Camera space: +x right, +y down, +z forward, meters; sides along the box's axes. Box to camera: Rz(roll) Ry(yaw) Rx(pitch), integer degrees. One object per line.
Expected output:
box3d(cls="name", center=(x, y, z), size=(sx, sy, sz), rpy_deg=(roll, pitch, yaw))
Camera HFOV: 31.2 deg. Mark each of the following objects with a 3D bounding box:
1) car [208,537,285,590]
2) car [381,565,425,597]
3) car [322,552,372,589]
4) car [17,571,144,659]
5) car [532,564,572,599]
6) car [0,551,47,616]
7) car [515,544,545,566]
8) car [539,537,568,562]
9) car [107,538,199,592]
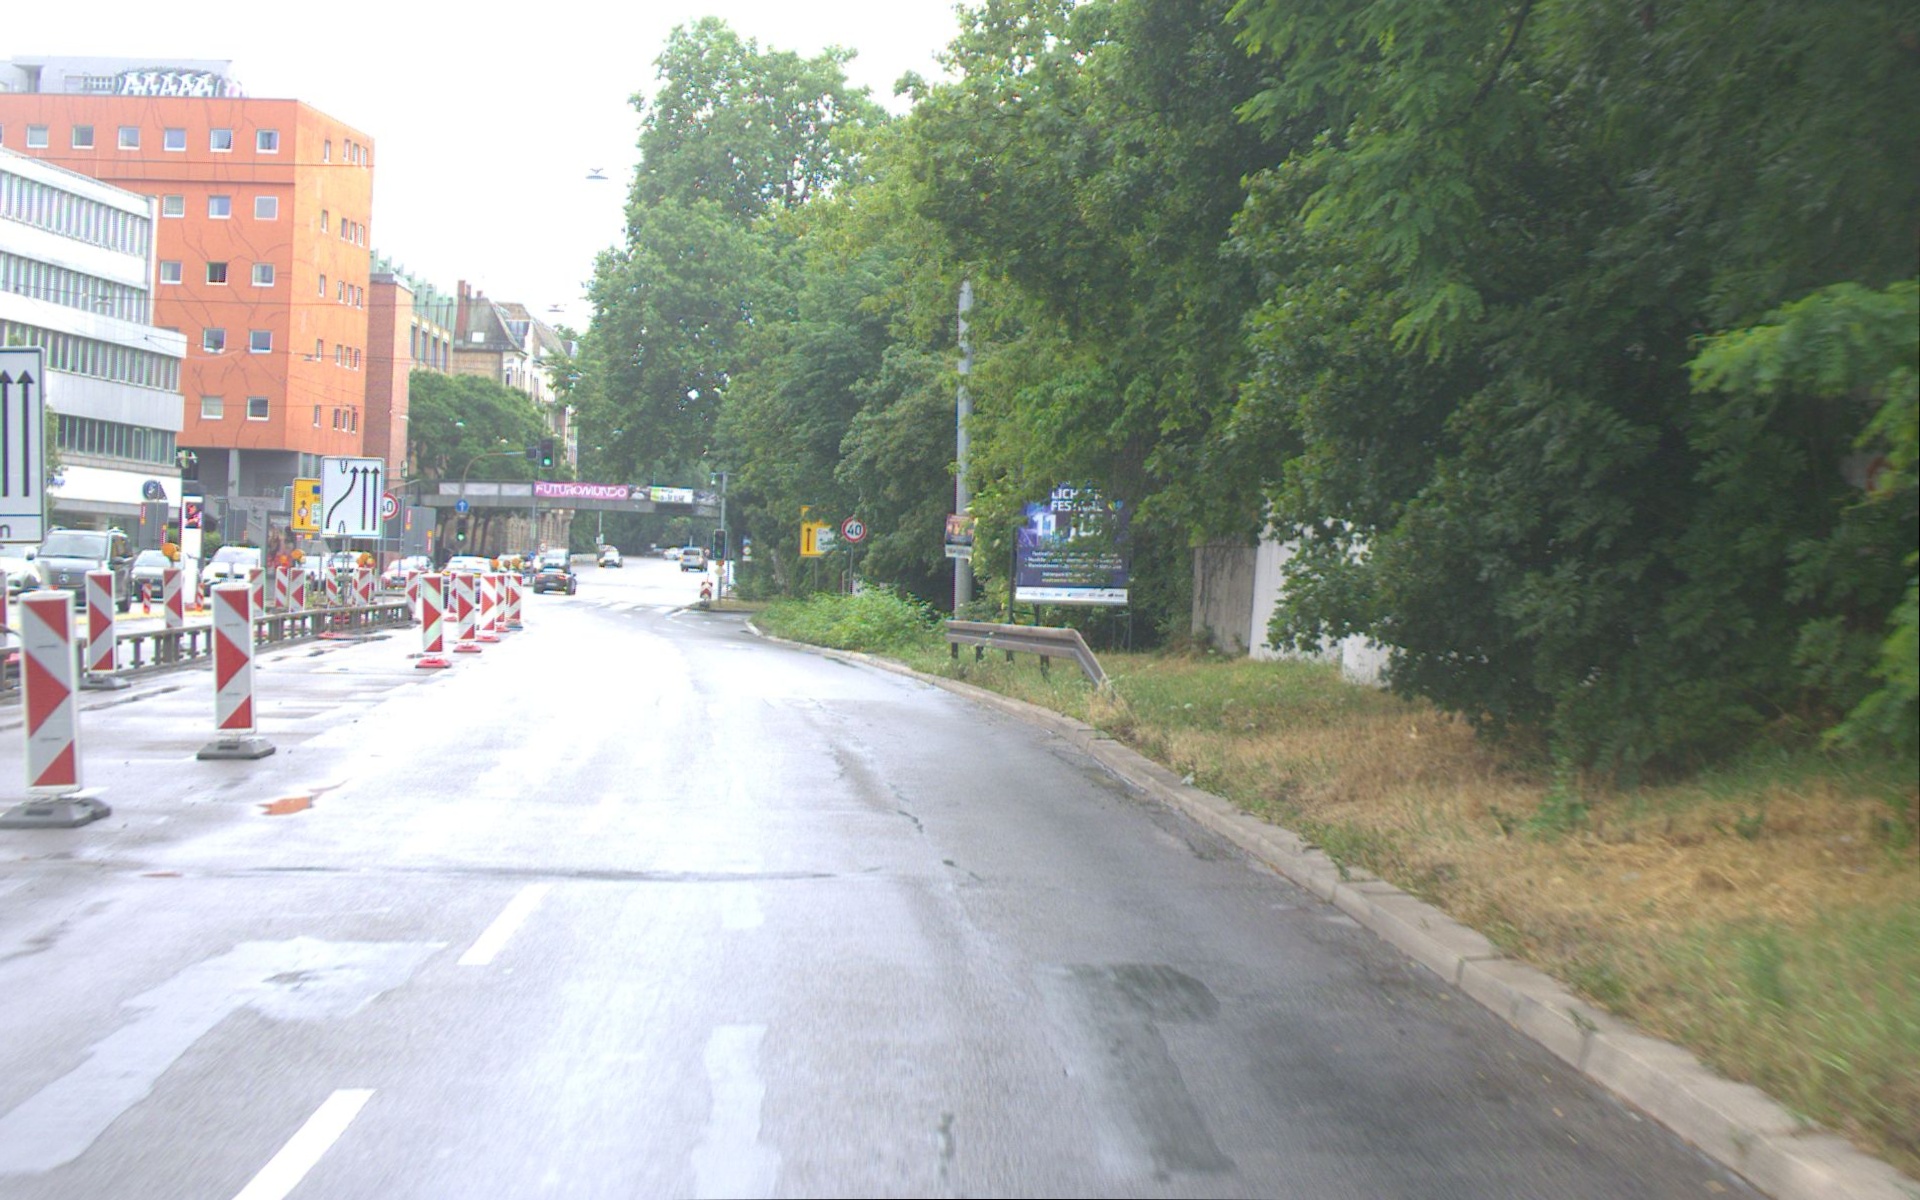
box3d(cls="car", center=(-23.360, -1.206, 112.646), size=(1.938, 1.684, 4.581), rpy_deg=(1, 1, -5))
box3d(cls="car", center=(-25.838, -0.909, 159.592), size=(1.735, 1.399, 4.290), rpy_deg=(2, 0, -6))
box3d(cls="car", center=(-29.592, -1.428, 165.990), size=(1.979, 1.701, 4.832), rpy_deg=(2, 0, -6))
box3d(cls="car", center=(-20.315, 0.316, 79.615), size=(1.993, 1.930, 5.232), rpy_deg=(0, 1, -5))
box3d(cls="car", center=(-20.457, -0.923, 172.378), size=(1.763, 1.691, 3.706), rpy_deg=(1, 1, -3))
box3d(cls="car", center=(-24.301, -0.434, 86.545), size=(1.747, 1.579, 4.265), rpy_deg=(1, 1, -4))
box3d(cls="car", center=(-30.251, -3.148, 241.899), size=(1.829, 1.497, 4.373), rpy_deg=(1, 1, -3))
box3d(cls="car", center=(-30.206, -3.740, 255.586), size=(1.733, 1.780, 4.302), rpy_deg=(1, 1, -2))
box3d(cls="car", center=(-22.658, -0.993, 96.660), size=(1.851, 1.461, 4.708), rpy_deg=(1, 1, -5))
